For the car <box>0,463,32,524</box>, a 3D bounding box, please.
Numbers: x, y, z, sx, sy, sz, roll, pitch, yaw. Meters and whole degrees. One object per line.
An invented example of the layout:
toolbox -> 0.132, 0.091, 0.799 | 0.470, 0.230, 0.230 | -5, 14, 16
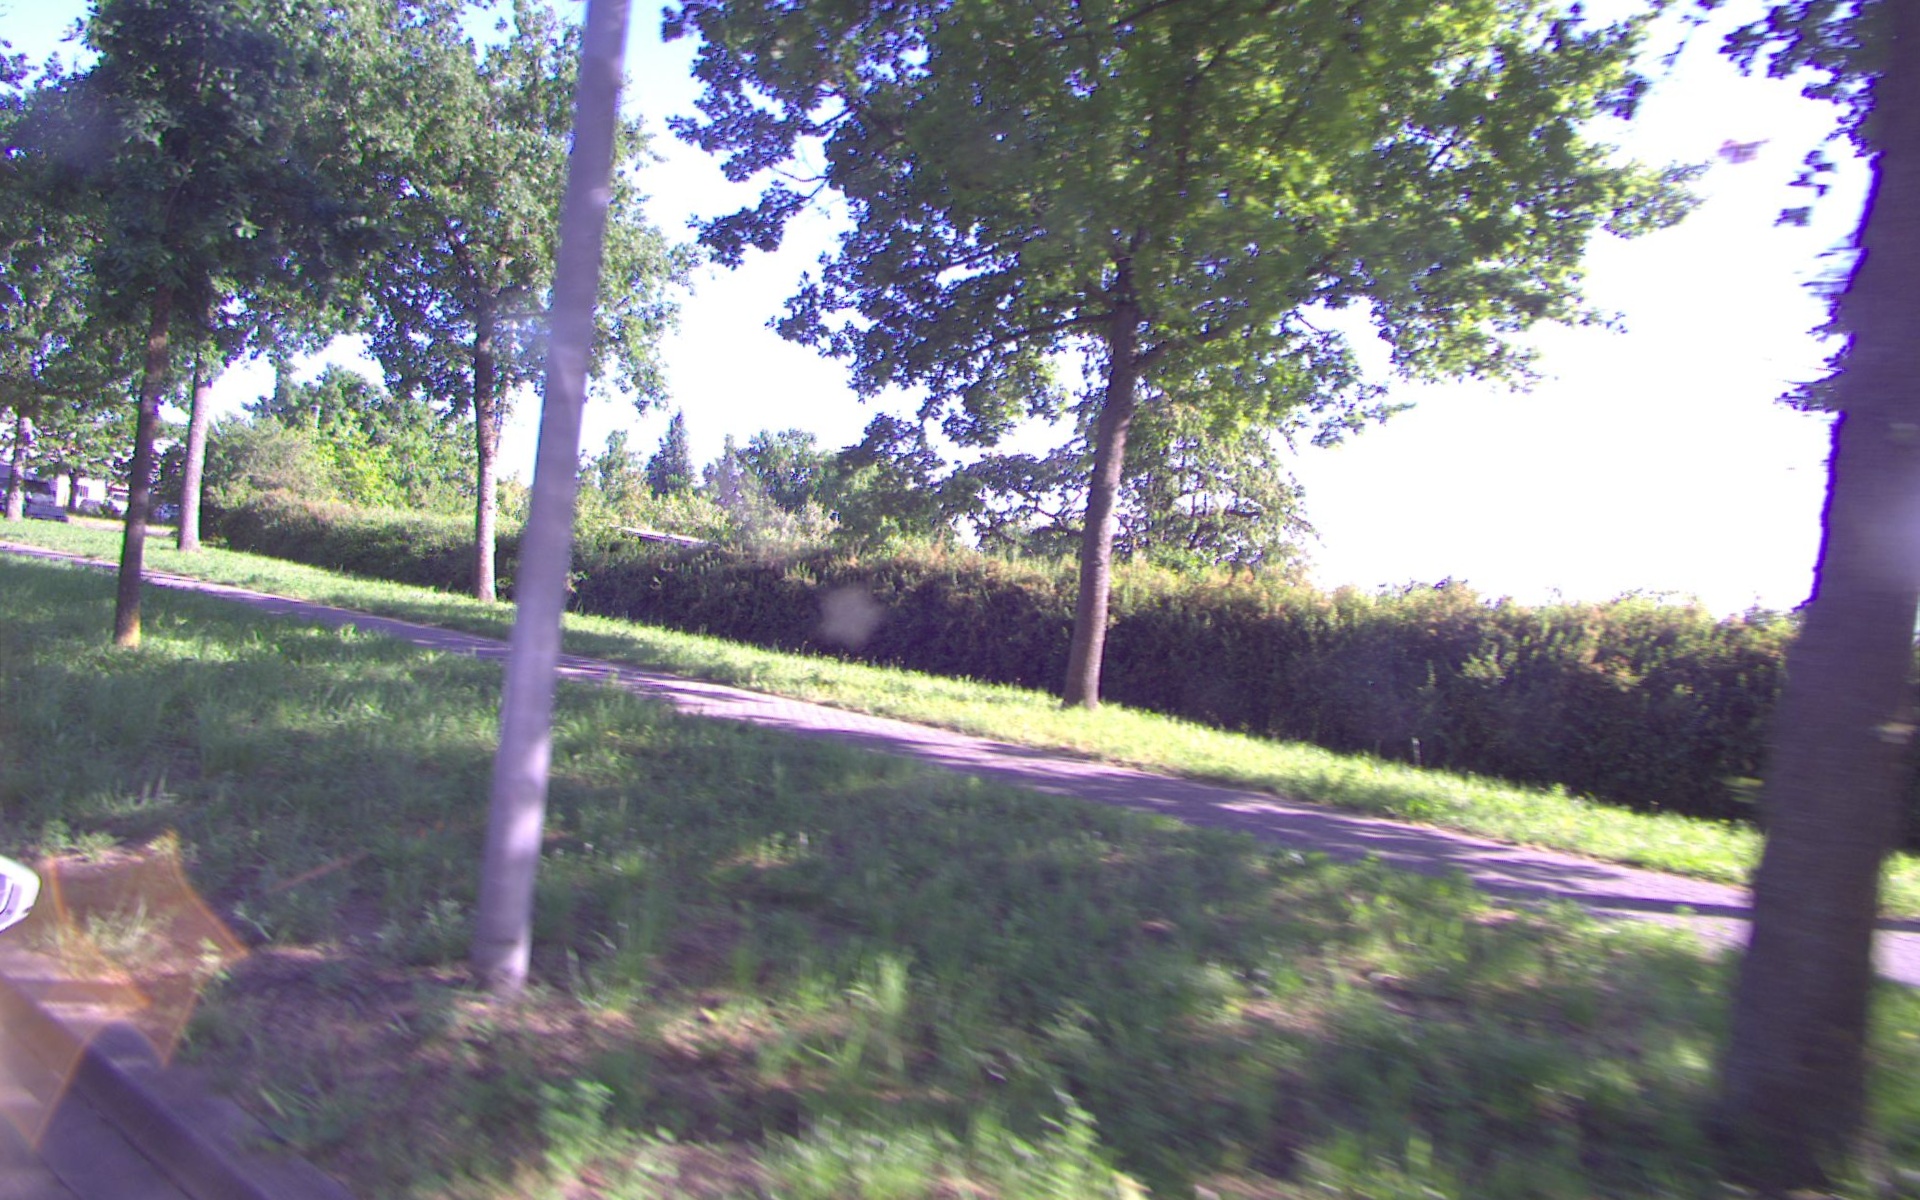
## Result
car -> -48.582, -5.535, 50.488 | 5.884, 2.597, 2.083 | 11, 1, 41

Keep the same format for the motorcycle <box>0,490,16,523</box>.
motorcycle -> -41.206, -4.003, 43.173 | 2.374, 1.246, 0.662 | 2, -3, 40

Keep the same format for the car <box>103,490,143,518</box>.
car -> -58.929, -6.788, 70.824 | 1.829, 1.660, 3.950 | 6, 1, -44

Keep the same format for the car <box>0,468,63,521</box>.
car -> -55.236, -6.258, 59.094 | 4.767, 2.676, 2.164 | 7, 1, 29

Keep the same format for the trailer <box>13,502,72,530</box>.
trailer -> -39.183, -3.558, 42.956 | 2.027, 0.878, 1.576 | 2, -3, 41
